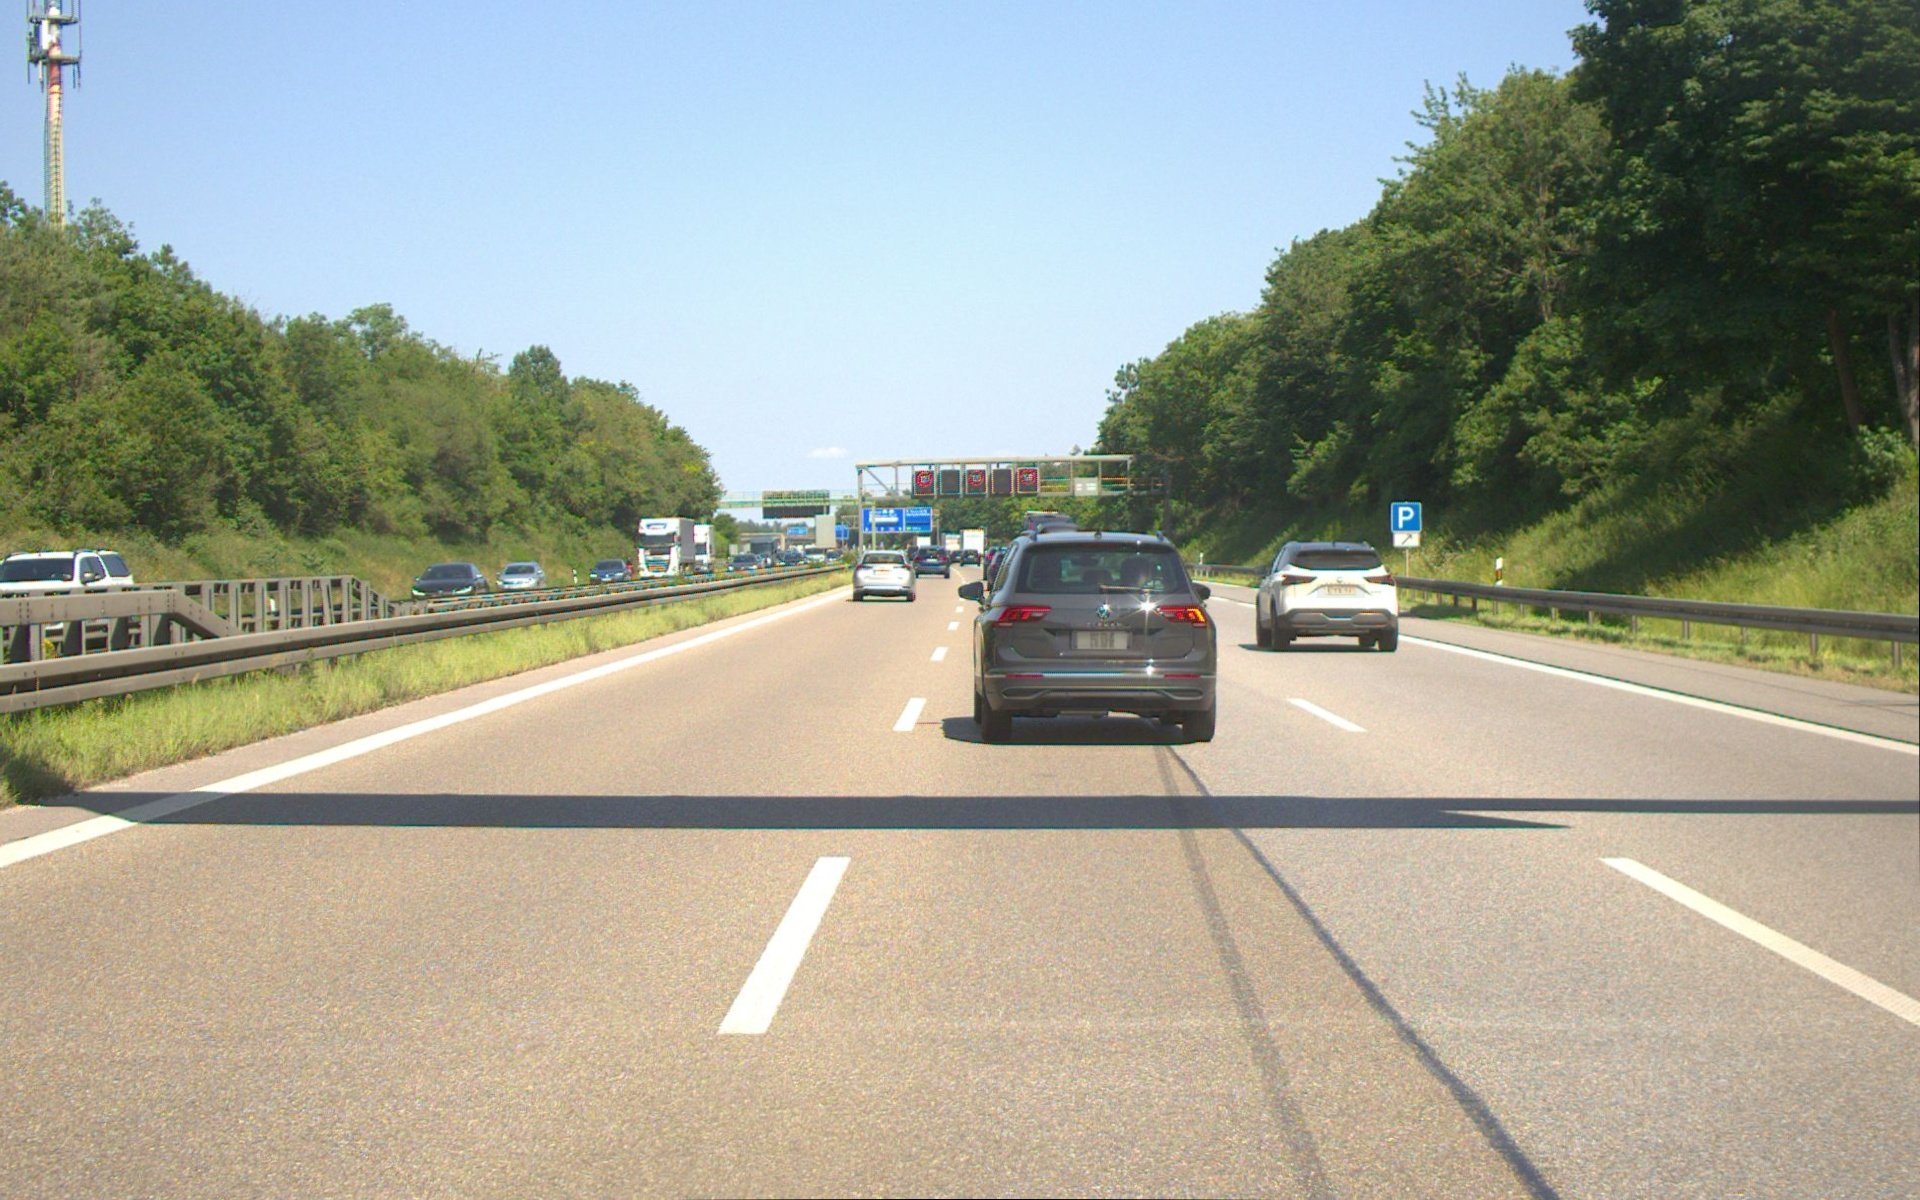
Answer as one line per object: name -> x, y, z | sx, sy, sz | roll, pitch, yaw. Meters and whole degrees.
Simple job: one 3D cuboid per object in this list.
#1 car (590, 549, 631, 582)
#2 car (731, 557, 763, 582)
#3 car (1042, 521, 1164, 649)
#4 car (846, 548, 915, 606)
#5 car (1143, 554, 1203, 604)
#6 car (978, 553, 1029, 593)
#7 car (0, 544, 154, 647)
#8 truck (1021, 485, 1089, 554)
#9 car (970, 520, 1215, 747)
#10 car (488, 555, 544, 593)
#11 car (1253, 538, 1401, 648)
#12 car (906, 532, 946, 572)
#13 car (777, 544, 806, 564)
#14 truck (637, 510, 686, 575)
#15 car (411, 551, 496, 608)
car -> -17.822, -1.775, 175.390 | 1.595, 1.562, 4.369 | -3, 1, -1
car -> -11.850, -1.713, 191.083 | 1.485, 1.351, 4.418 | -1, 1, 0
car -> 2.194, -0.273, 53.688 | 1.665, 1.870, 4.827 | -1, 1, 0
car -> -2.247, -0.676, 97.924 | 1.765, 1.563, 4.258 | 1, 1, 1
car -> 6.945, -0.703, 112.419 | 1.765, 1.563, 4.258 | 1, 1, 1
car -> 1.588, -0.988, 123.367 | 1.765, 1.377, 4.258 | 1, 1, 1
car -> -15.569, -0.101, 59.489 | 1.777, 1.628, 5.540 | -3, 1, 1
truck -> 6.203, -5.280, 227.675 | 3.780, 4.407, 14.051 | 0, 1, -1
car -> 1.037, 0.213, 27.753 | 1.799, 1.663, 4.258 | 1, 1, 1
car -> -19.003, -1.121, 147.333 | 1.628, 1.487, 4.941 | -3, 1, 1
car -> 5.447, -0.134, 51.400 | 1.843, 1.563, 4.035 | 1, 1, 1
car -> -1.733, -2.465, 175.681 | 1.993, 2.007, 4.000 | -1, 1, -1
car -> -12.144, -3.305, 248.261 | 1.807, 1.401, 4.819 | -1, 1, 0
truck -> -19.213, -3.693, 221.585 | 2.614, 4.044, 4.000 | -3, 1, 0
car -> -15.142, -0.624, 102.911 | 1.756, 1.562, 4.430 | -3, 1, 1
